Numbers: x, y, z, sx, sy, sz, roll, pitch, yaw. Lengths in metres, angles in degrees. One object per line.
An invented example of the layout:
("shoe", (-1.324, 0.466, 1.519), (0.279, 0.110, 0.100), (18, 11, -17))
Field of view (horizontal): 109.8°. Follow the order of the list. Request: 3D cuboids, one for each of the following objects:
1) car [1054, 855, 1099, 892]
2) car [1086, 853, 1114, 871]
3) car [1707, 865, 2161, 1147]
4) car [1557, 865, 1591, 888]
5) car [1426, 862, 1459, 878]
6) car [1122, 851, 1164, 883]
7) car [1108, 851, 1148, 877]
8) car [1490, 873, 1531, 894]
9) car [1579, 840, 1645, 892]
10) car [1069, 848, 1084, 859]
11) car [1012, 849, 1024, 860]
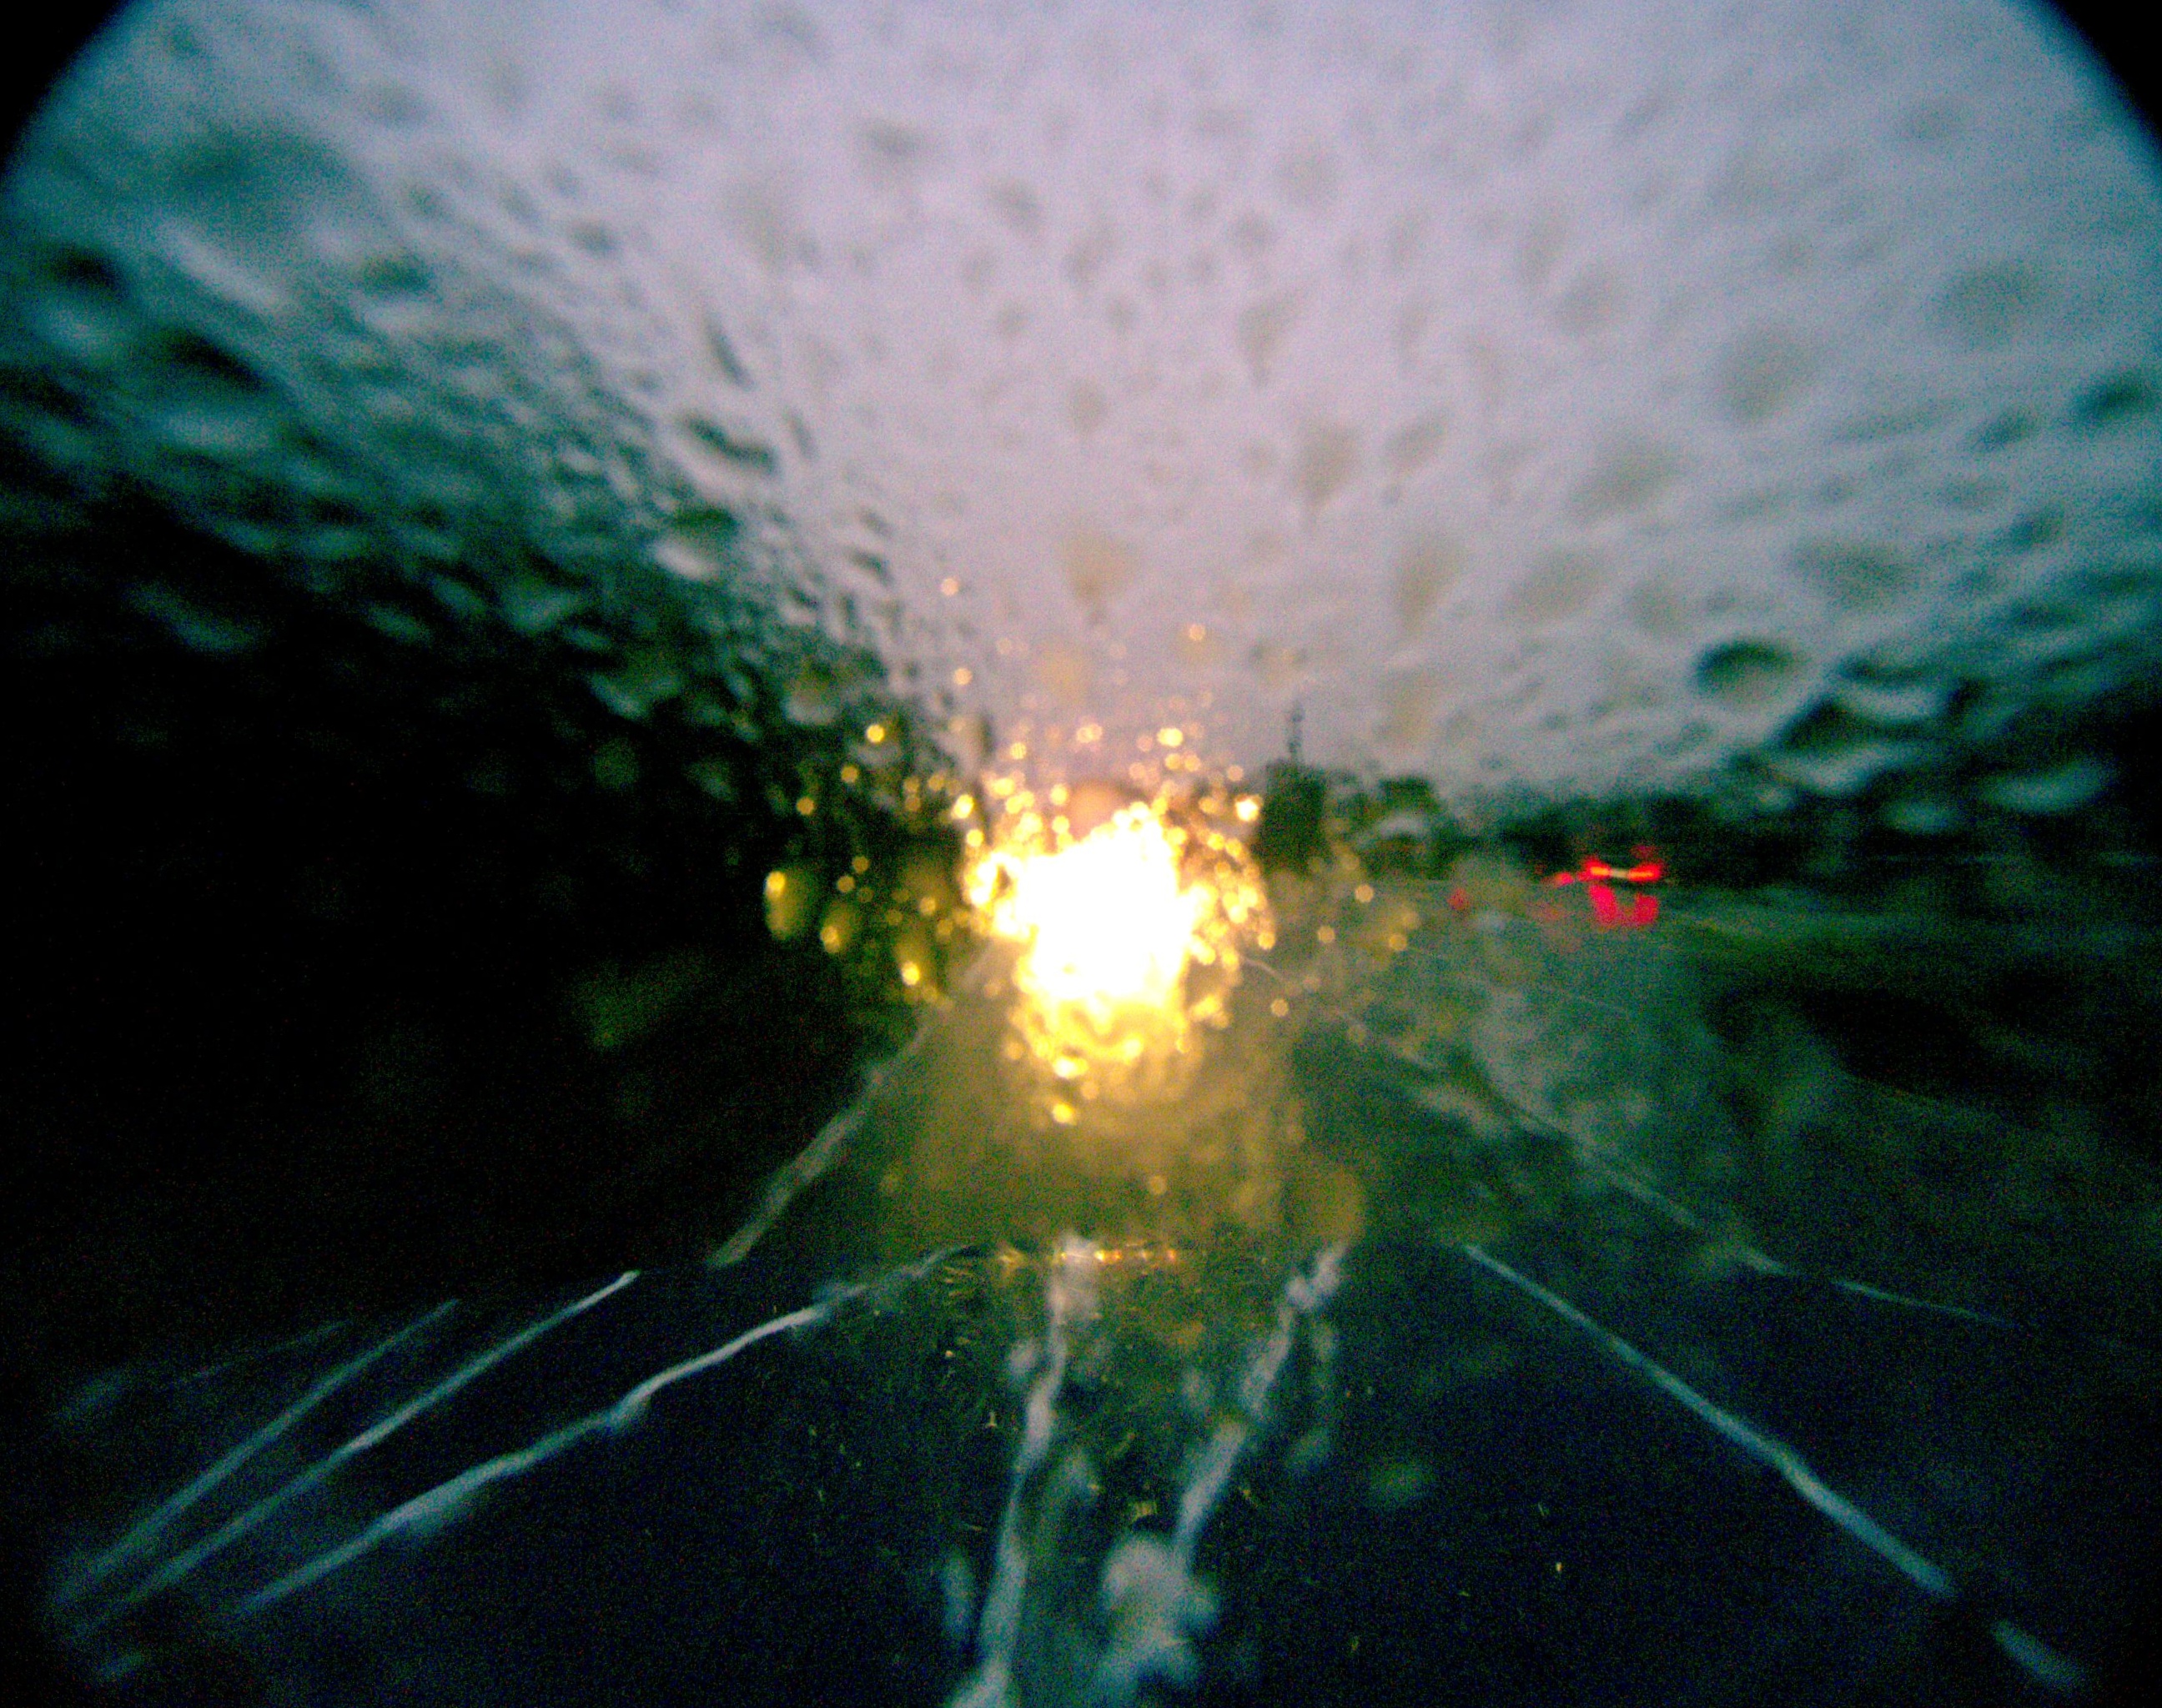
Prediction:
("car", (-0.272, 0.833, 33.966), (1.850, 1.429, 4.243), (-1, 1, -2))
("car", (1.555, 0.640, 64.029), (1.637, 1.413, 4.167), (-2, 1, -8))
("car", (6.807, 0.834, 5.133), (1.827, 1.514, 4.300), (0, -1, 4))
("car", (44.796, 2.063, 69.138), (1.952, 1.746, 4.818), (-2, 1, 26))
("car", (45.020, 1.999, 94.804), (1.955, 1.746, 4.811), (-3, 1, 3))
("car", (3.317, 0.645, 41.523), (1.717, 1.617, 4.216), (-1, 1, -3))
("car", (3.023, 0.611, 49.583), (2.011, 1.547, 4.515), (-1, 1, -3))
("car", (42.461, 2.902, 75.181), (1.954, 1.746, 4.813), (-3, 1, 10))
("car", (21.801, 0.444, 31.324), (1.839, 1.958, 4.365), (-2, 1, 30))
("car", (-0.709, -0.120, 112.642), (1.651, 1.547, 4.377), (-1, 1, -7))
("car", (-11.167, 0.097, 134.992), (1.703, 1.721, 3.995), (-2, 2, -9))
